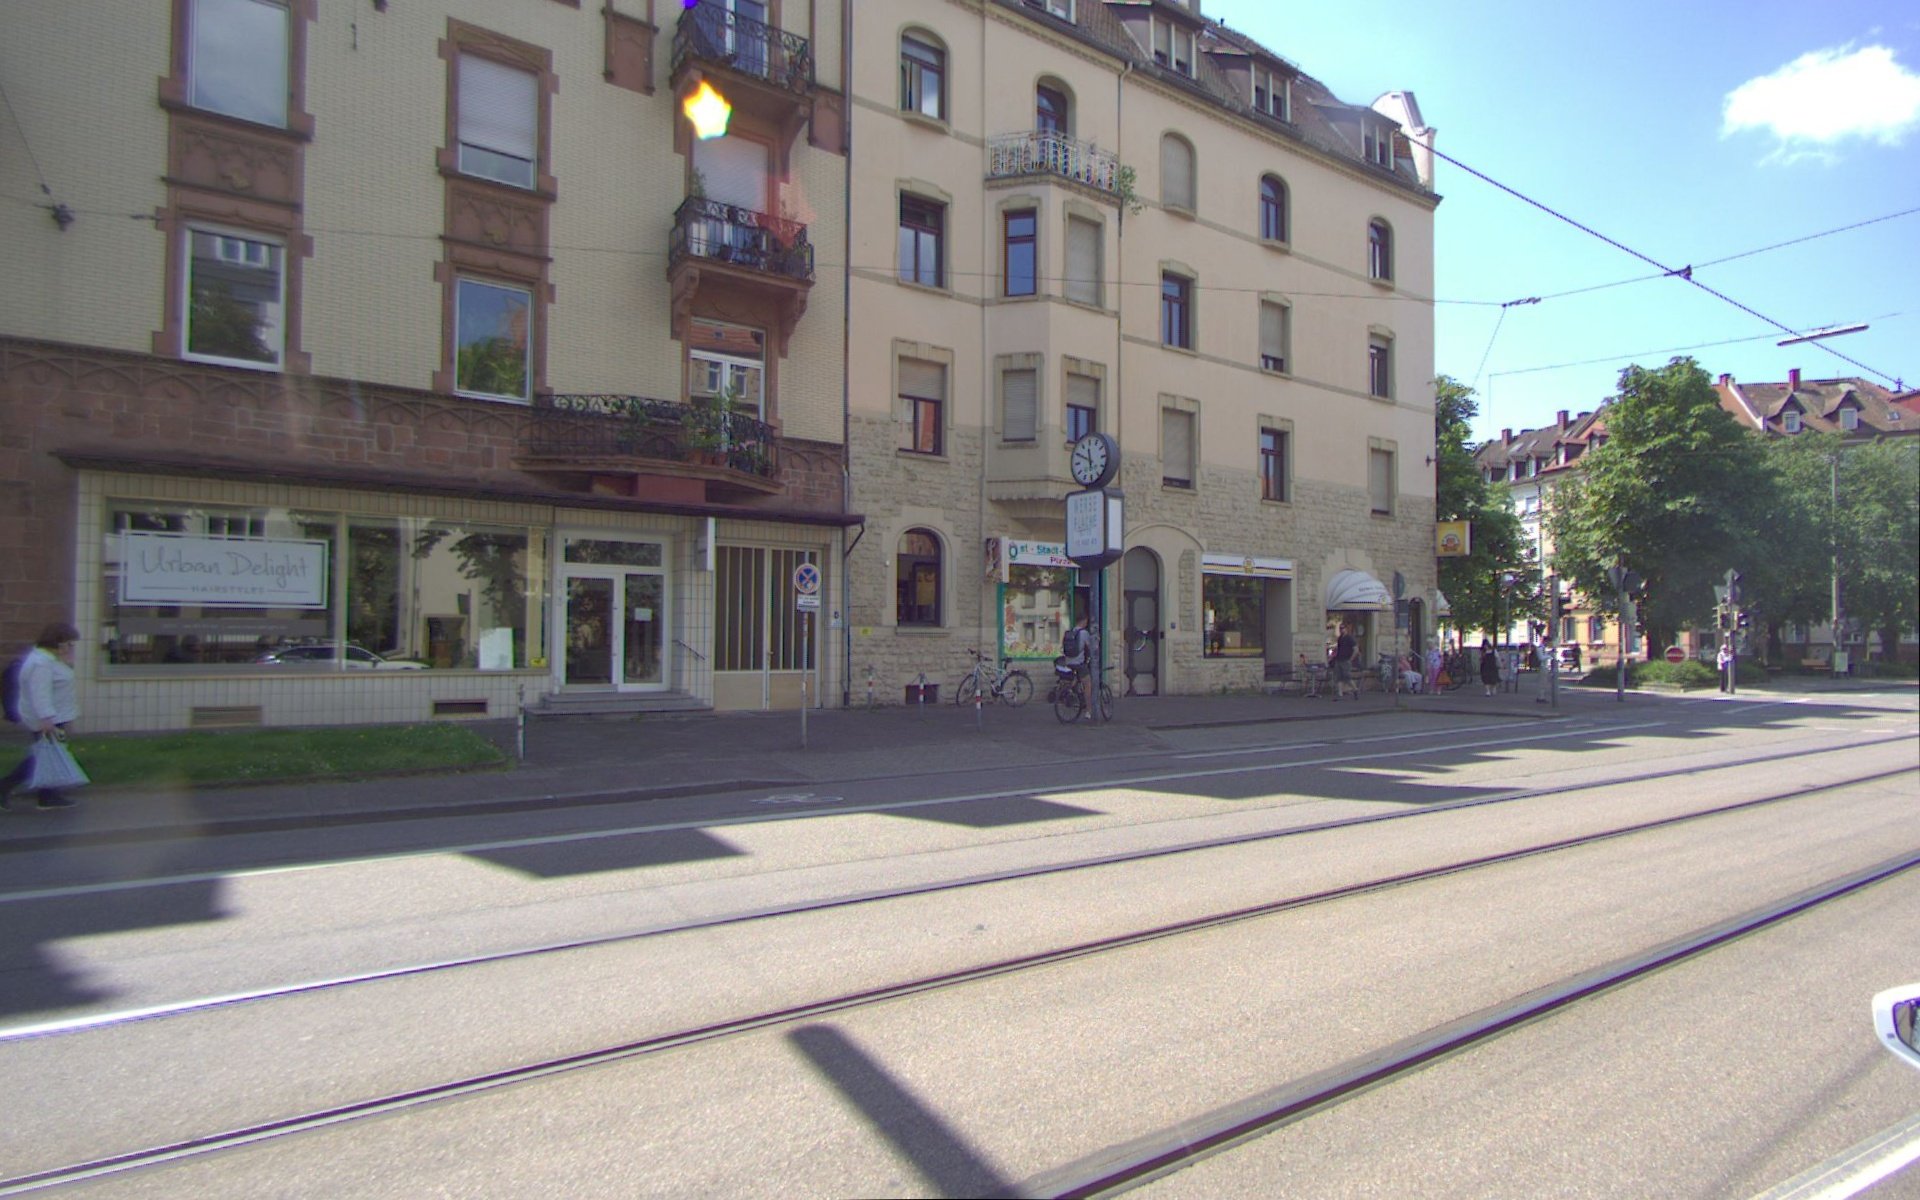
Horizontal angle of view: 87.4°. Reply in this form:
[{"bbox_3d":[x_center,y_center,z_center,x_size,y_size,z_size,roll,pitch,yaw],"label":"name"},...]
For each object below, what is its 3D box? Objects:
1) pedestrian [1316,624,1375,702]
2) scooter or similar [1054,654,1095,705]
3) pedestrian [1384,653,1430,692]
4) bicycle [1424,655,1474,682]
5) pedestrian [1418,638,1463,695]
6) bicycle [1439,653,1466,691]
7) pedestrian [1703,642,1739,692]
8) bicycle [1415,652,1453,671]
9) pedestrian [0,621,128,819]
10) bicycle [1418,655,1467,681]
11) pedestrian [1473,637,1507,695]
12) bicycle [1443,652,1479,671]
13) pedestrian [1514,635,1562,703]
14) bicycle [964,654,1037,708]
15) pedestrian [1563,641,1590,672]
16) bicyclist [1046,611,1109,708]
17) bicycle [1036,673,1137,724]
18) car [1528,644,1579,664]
[{"bbox_3d":[9.699,1.565,25.299,1.153,1.916,0.895,2,-2,-34],"label":"pedestrian"},{"bbox_3d":[2.536,1.738,22.194,0.682,1.058,1.210,1,-1,16],"label":"scooter or similar"},{"bbox_3d":[13.012,2.090,29.247,0.873,1.091,0.911,2,-3,-32],"label":"pedestrian"},{"bbox_3d":[19.275,2.698,39.613,1.697,1.046,0.544,0,-2,0],"label":"bicycle"},{"bbox_3d":[13.903,1.899,29.064,0.910,1.615,0.801,2,-3,-35],"label":"pedestrian"},{"bbox_3d":[15.513,2.277,31.667,0.534,1.143,1.683,0,-4,19],"label":"bicycle"},{"bbox_3d":[27.133,2.362,35.832,0.825,1.745,0.918,-1,-2,26],"label":"pedestrian"},{"bbox_3d":[25.939,3.363,54.939,1.825,1.046,0.543,-1,-3,35],"label":"bicycle"},{"bbox_3d":[-7.685,0.974,8.460,0.975,1.562,0.894,2,-3,-38],"label":"pedestrian"},{"bbox_3d":[19.355,2.718,40.292,1.697,1.046,0.544,0,-2,0],"label":"bicycle"},{"bbox_3d":[15.452,1.919,29.302,0.847,1.657,1.025,-1,-2,28],"label":"pedestrian"},{"bbox_3d":[29.167,3.570,58.486,1.825,1.046,0.543,-1,-3,35],"label":"bicycle"},{"bbox_3d":[15.457,1.827,26.860,0.767,1.755,0.855,1,-1,-31],"label":"pedestrian"},{"bbox_3d":[0.838,1.676,20.806,1.439,1.079,0.370,2,-2,-10],"label":"bicycle"},{"bbox_3d":[37.221,3.401,60.648,1.002,1.893,0.998,1,-2,-20],"label":"pedestrian"},{"bbox_3d":[2.117,1.059,18.096,0.822,1.685,0.751,2,-1,-33],"label":"bicyclist"},{"bbox_3d":[2.301,1.767,18.235,1.802,0.828,0.747,2,-3,-35],"label":"bicycle"},{"bbox_3d":[46.641,4.221,78.983,1.654,1.491,3.467,1,-2,-8],"label":"car"}]
